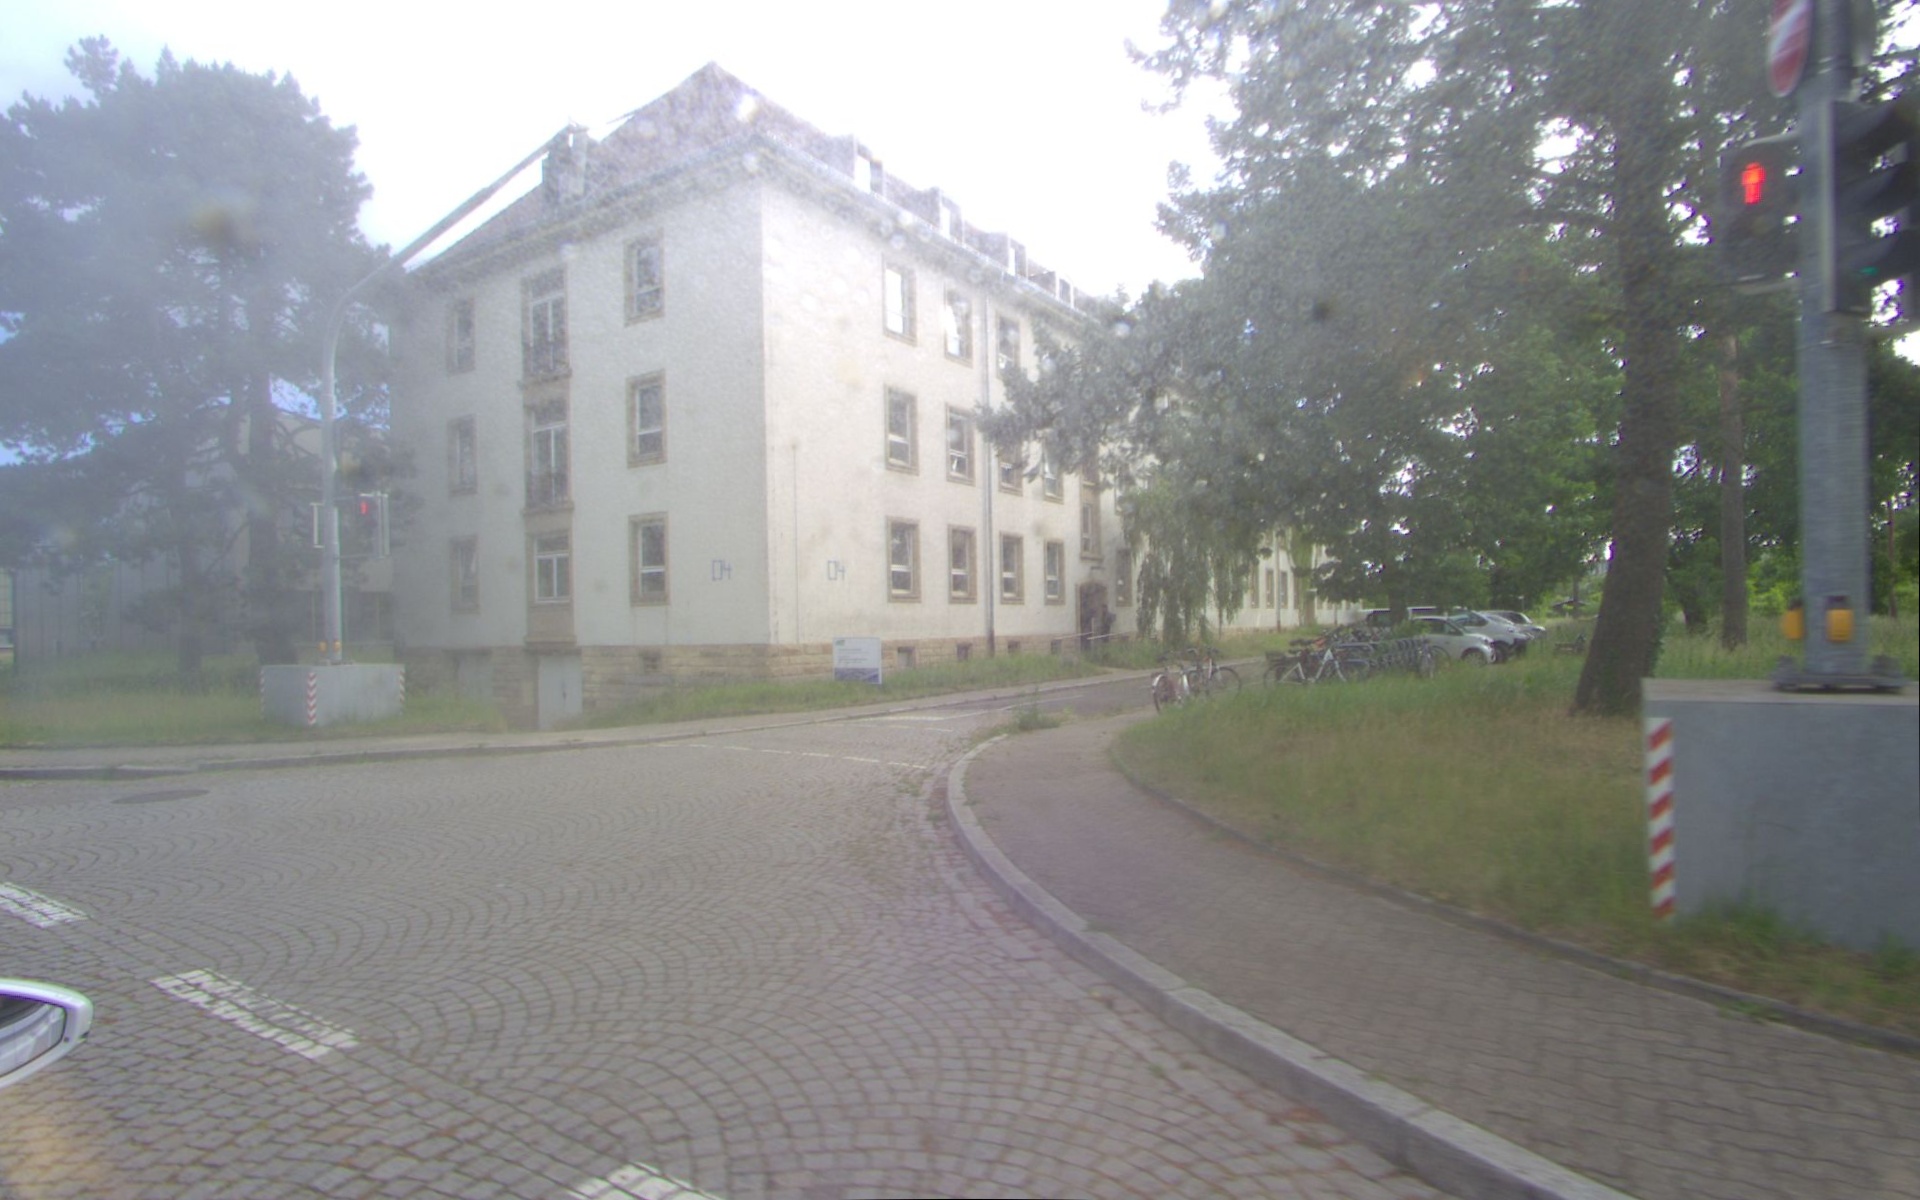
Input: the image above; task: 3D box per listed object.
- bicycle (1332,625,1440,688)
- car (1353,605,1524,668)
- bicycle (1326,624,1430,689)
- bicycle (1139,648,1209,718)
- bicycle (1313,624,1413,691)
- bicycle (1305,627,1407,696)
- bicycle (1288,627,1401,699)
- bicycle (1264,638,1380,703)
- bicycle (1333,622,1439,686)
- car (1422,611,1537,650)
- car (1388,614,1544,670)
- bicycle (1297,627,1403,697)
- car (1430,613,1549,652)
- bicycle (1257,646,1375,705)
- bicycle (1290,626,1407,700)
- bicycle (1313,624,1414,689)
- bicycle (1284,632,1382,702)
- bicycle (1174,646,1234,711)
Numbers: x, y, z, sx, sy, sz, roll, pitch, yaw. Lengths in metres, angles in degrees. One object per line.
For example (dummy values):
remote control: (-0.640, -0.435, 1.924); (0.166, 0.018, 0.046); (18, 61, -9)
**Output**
bicycle: (9.395, 1.224, 22.131); (2.106, 1.337, 0.552); (-2, -1, 39)
car: (15.555, 1.203, 32.905); (4.776, 1.934, 2.237); (-1, -1, 18)
bicycle: (9.031, 1.207, 21.692); (1.991, 1.337, 0.538); (-2, -1, 39)
bicycle: (3.329, 1.250, 15.478); (0.523, 0.992, 1.617); (-1, -1, 32)
bicycle: (8.329, 1.169, 20.752); (1.830, 1.337, 0.553); (-2, -1, 39)
bicycle: (8.017, 1.230, 20.324); (1.895, 1.337, 0.390); (-2, -1, 39)
bicycle: (7.447, 1.196, 19.456); (1.951, 1.337, 0.574); (-2, -1, 39)
bicycle: (6.520, 1.246, 18.092); (1.879, 1.115, 0.539); (-2, -1, 39)
bicycle: (9.681, 1.206, 22.793); (2.077, 1.385, 0.754); (-2, -1, 39)
car: (24.548, 1.455, 47.389); (4.632, 1.796, 1.989); (-2, -2, 34)
car: (14.810, 1.219, 29.373); (3.879, 1.549, 1.851); (-2, -1, 35)
bicycle: (7.750, 1.217, 19.962); (1.896, 1.337, 0.504); (-2, -1, 39)
car: (23.411, 1.451, 44.316); (4.455, 1.638, 1.989); (-2, -2, 34)
bicycle: (6.208, 1.293, 17.516); (1.879, 0.961, 0.539); (-2, -1, 39)
bicycle: (7.298, 1.171, 18.875); (2.023, 1.337, 0.435); (-2, -1, 39)
bicycle: (8.576, 1.190, 21.319); (1.915, 1.337, 0.551); (-2, -1, 39)
bicycle: (6.893, 1.219, 18.538); (1.619, 1.231, 0.539); (-2, -1, 39)
bicycle: (4.160, 1.312, 17.026); (0.535, 1.027, 1.533); (-1, -1, 32)
